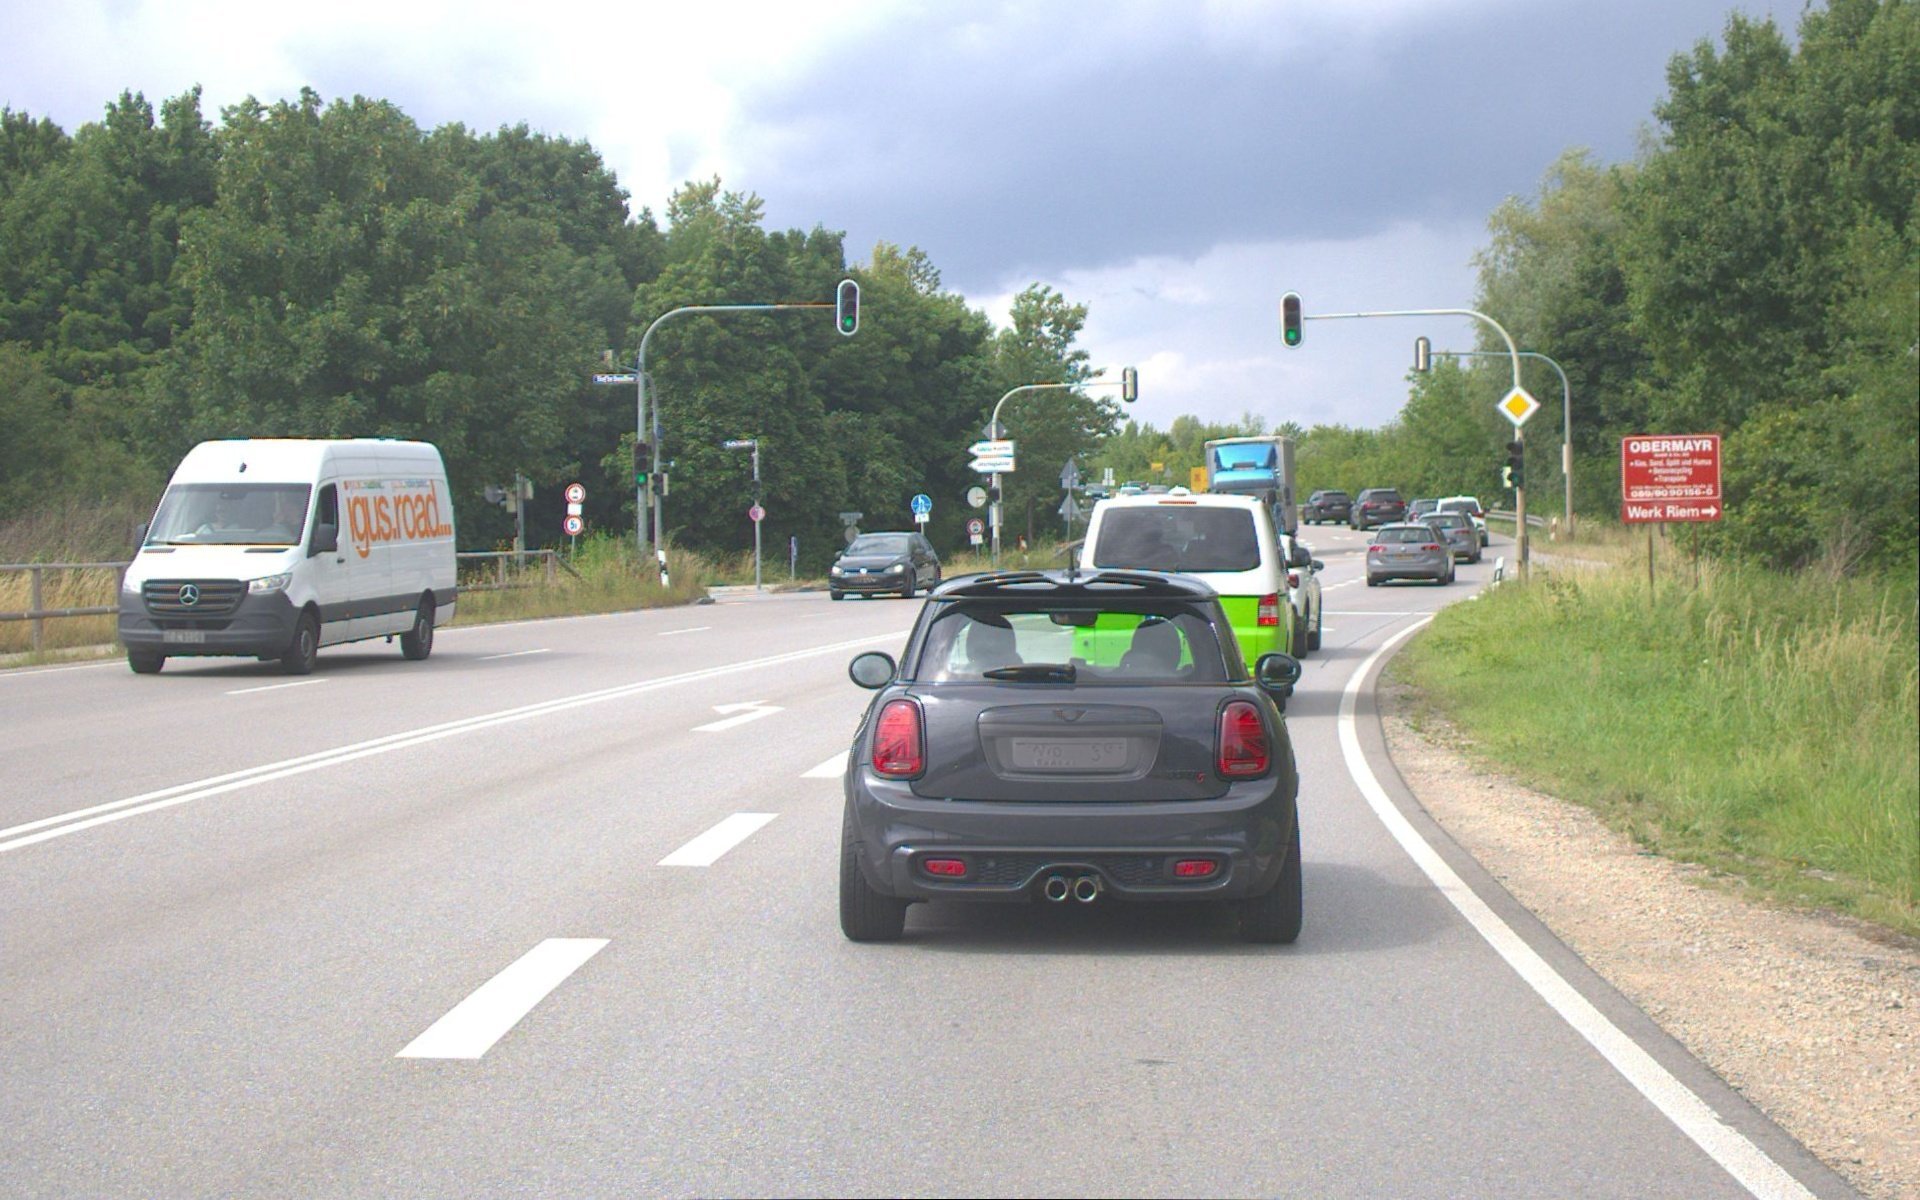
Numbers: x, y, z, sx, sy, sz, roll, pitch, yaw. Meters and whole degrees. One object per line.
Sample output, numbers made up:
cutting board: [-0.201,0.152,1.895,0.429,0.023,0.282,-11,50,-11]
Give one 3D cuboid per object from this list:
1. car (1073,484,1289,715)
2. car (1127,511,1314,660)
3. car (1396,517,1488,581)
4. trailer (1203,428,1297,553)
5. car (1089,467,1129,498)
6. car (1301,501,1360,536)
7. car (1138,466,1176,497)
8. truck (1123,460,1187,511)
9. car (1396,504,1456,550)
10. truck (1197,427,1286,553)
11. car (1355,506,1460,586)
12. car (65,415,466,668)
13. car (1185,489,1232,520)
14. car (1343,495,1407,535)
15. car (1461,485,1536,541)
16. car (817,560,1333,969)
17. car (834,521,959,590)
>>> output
car: [2.076,-0.062,31.485,1.845,1.980,3.840,0,2,5]
car: [3.148,-0.174,40.935,1.994,1.678,3.999,0,0,8]
car: [13.448,-1.411,95.789,1.995,1.678,3.974,1,0,16]
trailer: [9.883,-3.669,116.499,2.528,4.087,6.732,0,1,10]
car: [8.415,-6.619,194.101,1.993,1.684,4.001,-1,2,-1]
car: [18.064,-3.978,167.869,1.993,1.690,4.487,0,1,-5]
car: [13.670,-8.251,239.130,2.180,2.007,4.000,0,0,-4]
truck: [12.323,-7.228,218.228,2.716,2.888,8.772,0,0,-6]
car: [18.147,-2.835,134.033,1.994,1.678,3.999,1,0,3]
truck: [9.324,-3.612,113.533,2.541,4.082,3.998,0,1,11]
car: [10.209,-1.209,78.236,1.995,1.678,3.997,1,0,13]
car: [-7.855,-0.678,39.794,2.434,2.665,6.886,0,1,8]
car: [14.426,-5.523,199.820,1.993,1.781,4.487,-1,1,-5]
car: [18.182,-3.720,150.811,1.993,1.690,4.486,0,1,-3]
car: [17.699,-2.853,112.831,1.995,1.678,3.997,1,0,15]
car: [0.419,0.567,14.263,1.845,1.423,3.841,0,1,0]
car: [-1.334,-0.973,74.229,1.947,1.436,3.998,0,1,10]
